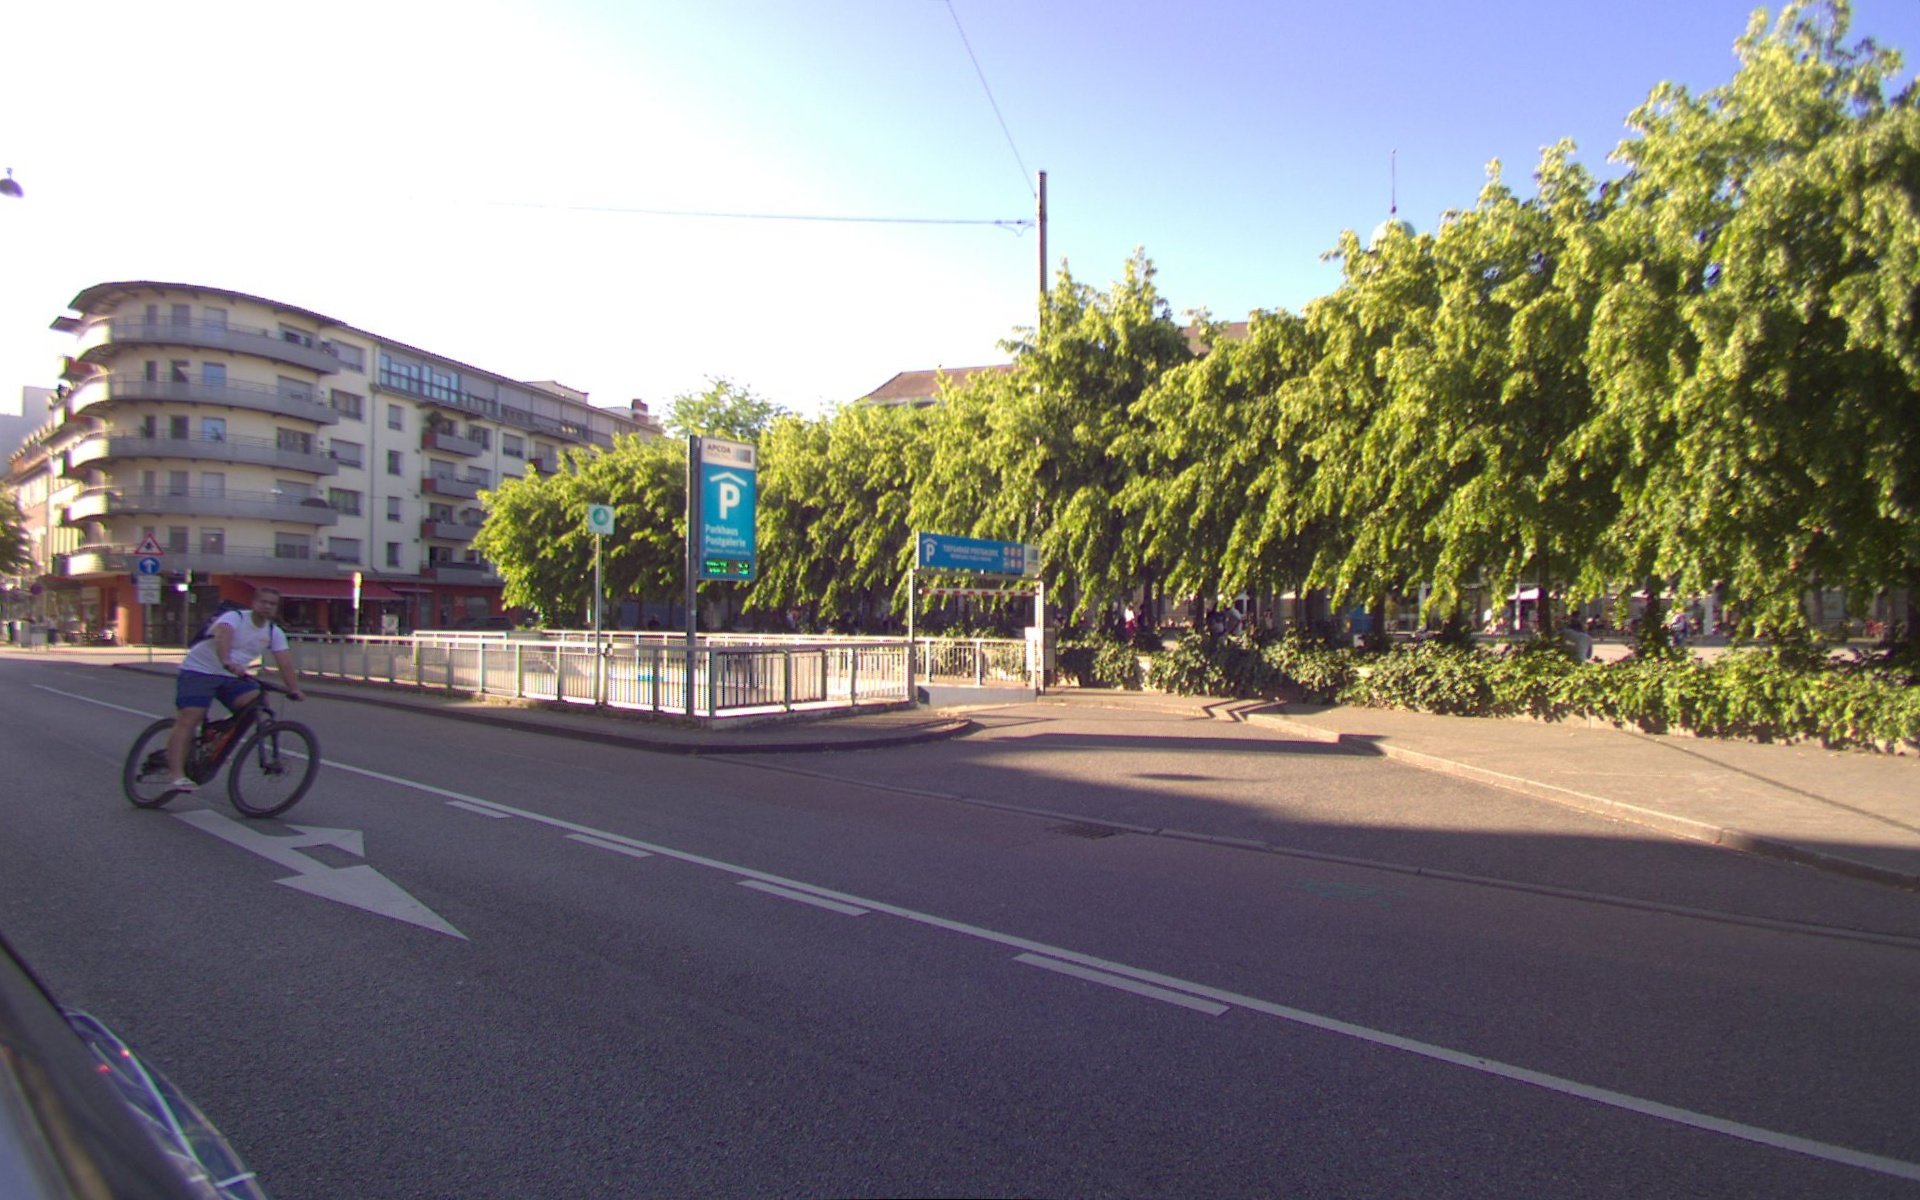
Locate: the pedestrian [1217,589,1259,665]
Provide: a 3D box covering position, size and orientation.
[{"bbox_3d":[6.278,0.596,22.847,0.645,1.661,0.626,-1,0,-35],"label":"pedestrian"}]

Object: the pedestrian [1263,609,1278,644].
[{"bbox_3d":[15.646,1.315,51.000,0.606,1.734,0.640,-1,0,31],"label":"pedestrian"}]

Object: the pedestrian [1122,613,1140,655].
[{"bbox_3d":[7.122,1.427,42.222,0.604,1.734,0.642,-1,0,21],"label":"pedestrian"}]

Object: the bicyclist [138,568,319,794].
[{"bbox_3d":[-5.726,0.598,7.957,0.763,1.647,0.880,0,-1,20],"label":"bicyclist"}]

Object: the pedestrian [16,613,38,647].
[{"bbox_3d":[-56.495,1.806,61.277,0.888,2.029,0.850,-1,0,40],"label":"pedestrian"}]

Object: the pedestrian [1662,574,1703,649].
[{"bbox_3d":[17.109,0.270,23.990,0.643,1.734,0.604,-1,0,22],"label":"pedestrian"}]

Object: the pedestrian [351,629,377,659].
[{"bbox_3d":[-32.643,2.423,55.455,0.877,1.607,0.861,-1,0,2],"label":"pedestrian"}]

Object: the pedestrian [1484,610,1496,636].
[{"bbox_3d":[34.656,1.503,66.208,0.643,1.734,0.603,-1,0,26],"label":"pedestrian"}]

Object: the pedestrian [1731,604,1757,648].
[{"bbox_3d":[31.656,1.037,40.885,0.641,1.734,0.605,-1,0,18],"label":"pedestrian"}]

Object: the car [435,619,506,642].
[{"bbox_3d":[-30.481,1.891,63.127,1.742,1.311,3.977,-1,-1,17],"label":"car"}]

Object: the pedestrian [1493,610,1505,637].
[{"bbox_3d":[34.789,1.499,65.348,0.643,1.734,0.603,-1,0,26],"label":"pedestrian"}]

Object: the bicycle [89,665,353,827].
[{"bbox_3d":[-5.718,1.077,7.819,2.046,1.093,0.637,-1,-1,21],"label":"bicycle"}]
